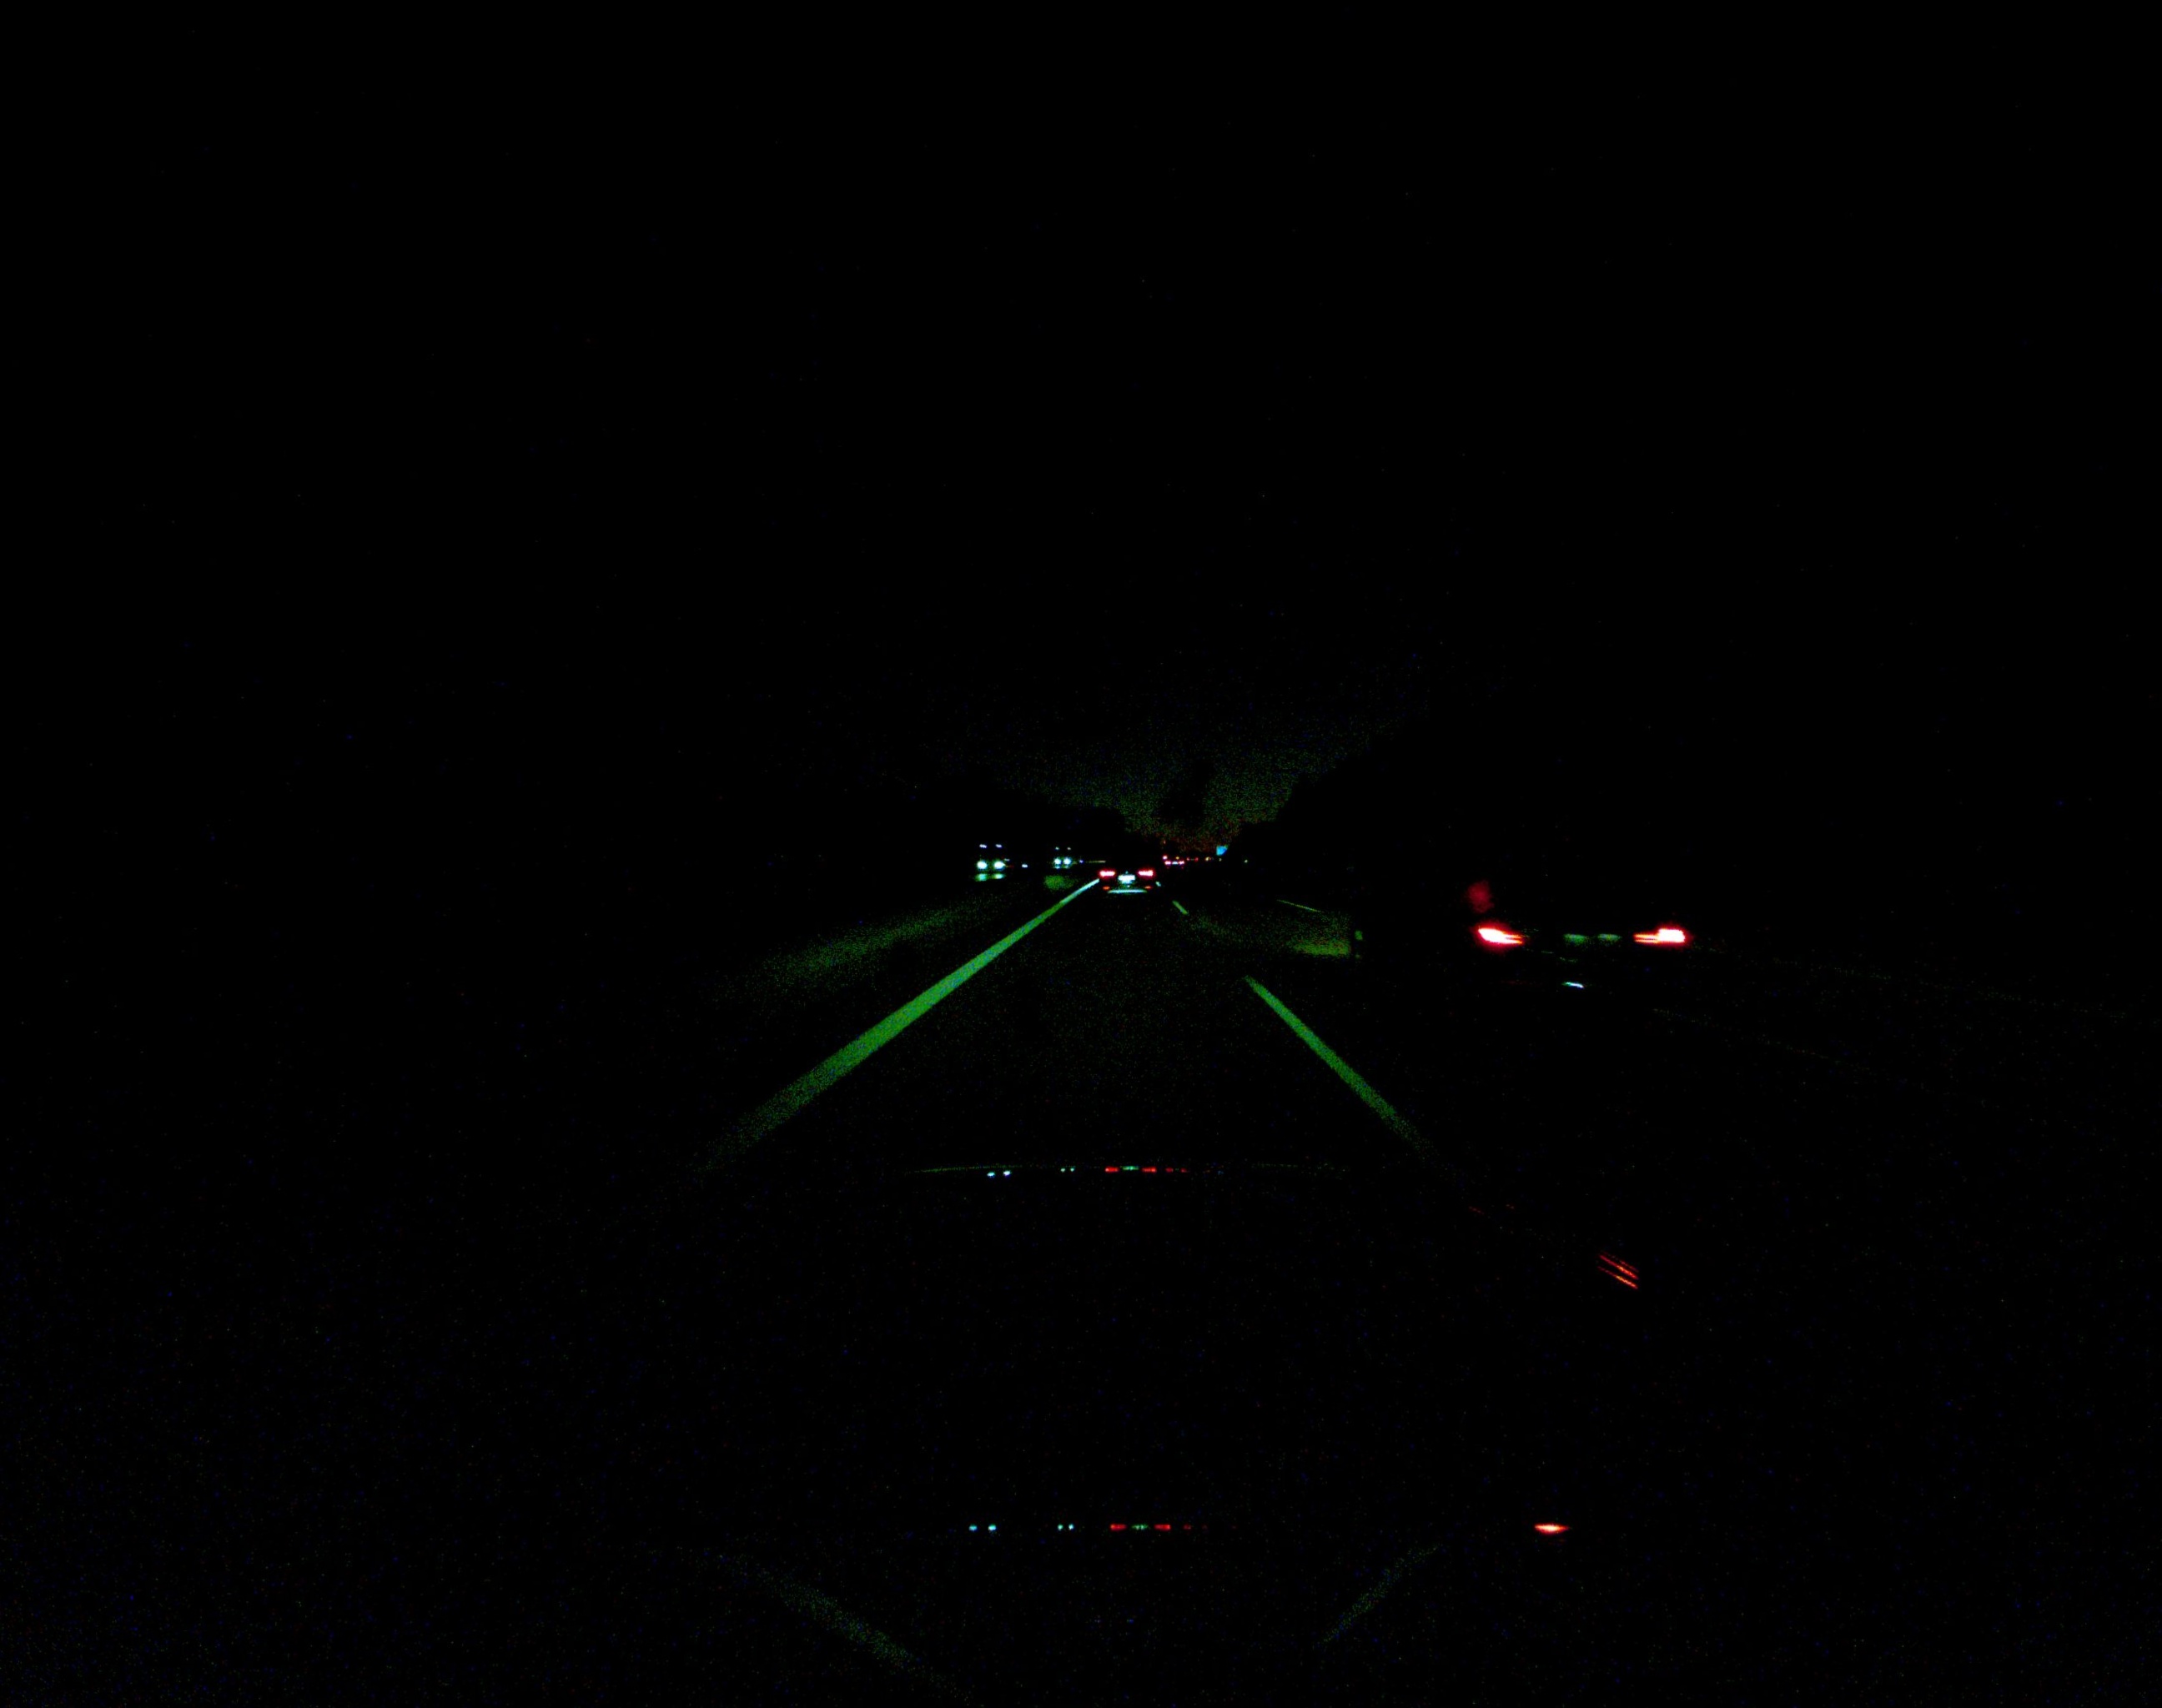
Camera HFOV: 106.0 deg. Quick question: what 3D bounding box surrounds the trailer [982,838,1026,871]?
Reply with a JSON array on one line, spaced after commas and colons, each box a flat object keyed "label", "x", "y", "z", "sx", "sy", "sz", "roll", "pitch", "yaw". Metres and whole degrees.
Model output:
[{"label": "trailer", "x": -9.043, "y": 0.110, "z": 97.559, "sx": 3.042, "sy": 3.689, "sz": 11.704, "roll": -1, "pitch": 0, "yaw": 6}]

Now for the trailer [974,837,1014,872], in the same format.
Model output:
[{"label": "trailer", "x": -9.652, "y": 0.082, "z": 91.405, "sx": 3.042, "sy": 3.689, "sz": 7.240, "roll": -1, "pitch": 0, "yaw": 6}]

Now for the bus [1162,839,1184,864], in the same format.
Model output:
[{"label": "bus", "x": 16.583, "y": -0.274, "z": 145.672, "sx": 2.636, "sy": 3.994, "sz": 14.741, "roll": -4, "pitch": -2, "yaw": 10}]

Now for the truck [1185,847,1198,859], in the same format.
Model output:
[{"label": "truck", "x": 29.836, "y": -0.305, "z": 219.890, "sx": 2.536, "sy": 3.016, "sz": 9.057, "roll": -1, "pitch": 0, "yaw": 2}]

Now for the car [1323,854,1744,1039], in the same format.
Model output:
[{"label": "car", "x": 4.290, "y": 0.721, "z": 8.906, "sx": 1.829, "sy": 1.401, "sz": 5.069, "roll": -1, "pitch": 0, "yaw": 1}]

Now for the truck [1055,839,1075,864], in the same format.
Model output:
[{"label": "truck", "x": -2.987, "y": -0.482, "z": 152.011, "sx": 2.838, "sy": 4.433, "sz": 6.406, "roll": -1, "pitch": 0, "yaw": 6}]

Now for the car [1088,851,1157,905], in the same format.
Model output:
[{"label": "car", "x": 1.391, "y": 0.713, "z": 26.794, "sx": 2.097, "sy": 1.618, "sz": 4.208, "roll": 0, "pitch": 0, "yaw": 3}]

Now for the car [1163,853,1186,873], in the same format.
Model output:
[{"label": "car", "x": 8.617, "y": 0.816, "z": 75.180, "sx": 1.903, "sy": 1.730, "sz": 4.004, "roll": 1, "pitch": -1, "yaw": 4}]
